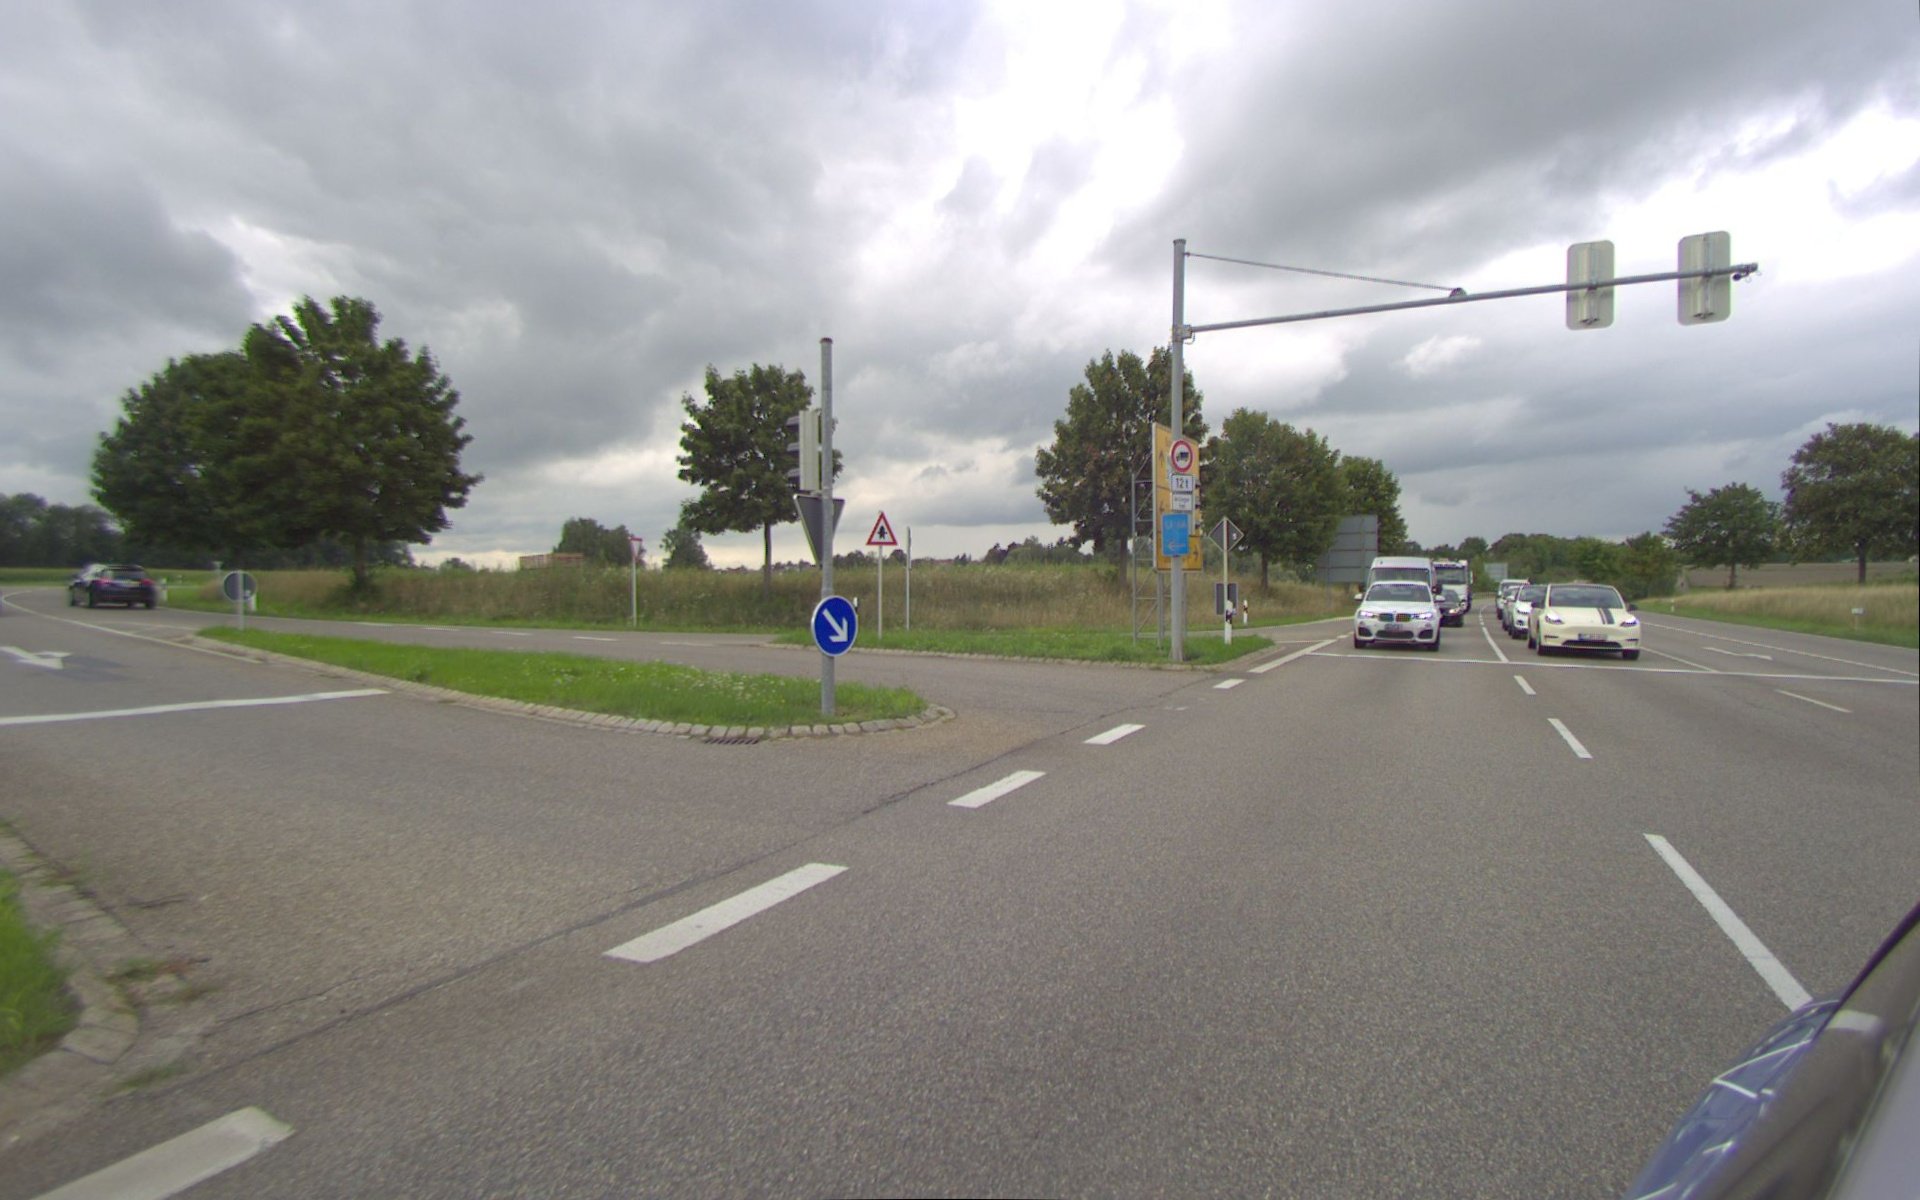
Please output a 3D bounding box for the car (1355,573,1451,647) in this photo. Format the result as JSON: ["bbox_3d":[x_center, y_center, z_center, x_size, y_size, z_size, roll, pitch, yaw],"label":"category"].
[{"bbox_3d":[10.943,0.183,24.872,1.980,1.649,4.237,1,1,26],"label":"car"}]

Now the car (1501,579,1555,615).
[{"bbox_3d":[27.127,-0.191,48.468,1.980,1.612,4.407,1,1,26],"label":"car"}]

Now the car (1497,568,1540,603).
[{"bbox_3d":[33.733,-0.894,61.243,2.150,2.039,4.635,1,1,28],"label":"car"}]

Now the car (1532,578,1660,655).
[{"bbox_3d":[14.559,0.310,23.422,1.980,1.584,4.706,-1,1,26],"label":"car"}]

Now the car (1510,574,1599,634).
[{"bbox_3d":[17.731,0.078,30.344,1.980,1.650,4.283,-1,1,27],"label":"car"}]

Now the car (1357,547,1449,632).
[{"bbox_3d":[14.278,-0.356,32.427,2.375,2.472,5.461,-1,1,27],"label":"car"}]

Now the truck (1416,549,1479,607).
[{"bbox_3d":[28.640,-1.297,59.443,3.078,3.148,7.339,1,1,26],"label":"truck"}]

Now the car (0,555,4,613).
[{"bbox_3d":[-27.805,-0.459,27.760,4.649,1.522,1.970,1,1,42],"label":"car"}]

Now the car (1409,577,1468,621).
[{"bbox_3d":[18.845,-0.066,39.768,1.980,1.649,4.236,-1,1,27],"label":"car"}]

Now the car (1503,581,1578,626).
[{"bbox_3d":[20.598,0.083,36.069,1.980,1.473,4.540,1,1,26],"label":"car"}]

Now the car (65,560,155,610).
[{"bbox_3d":[-29.156,-0.550,34.682,4.257,1.468,1.786,4,3,42],"label":"car"}]
